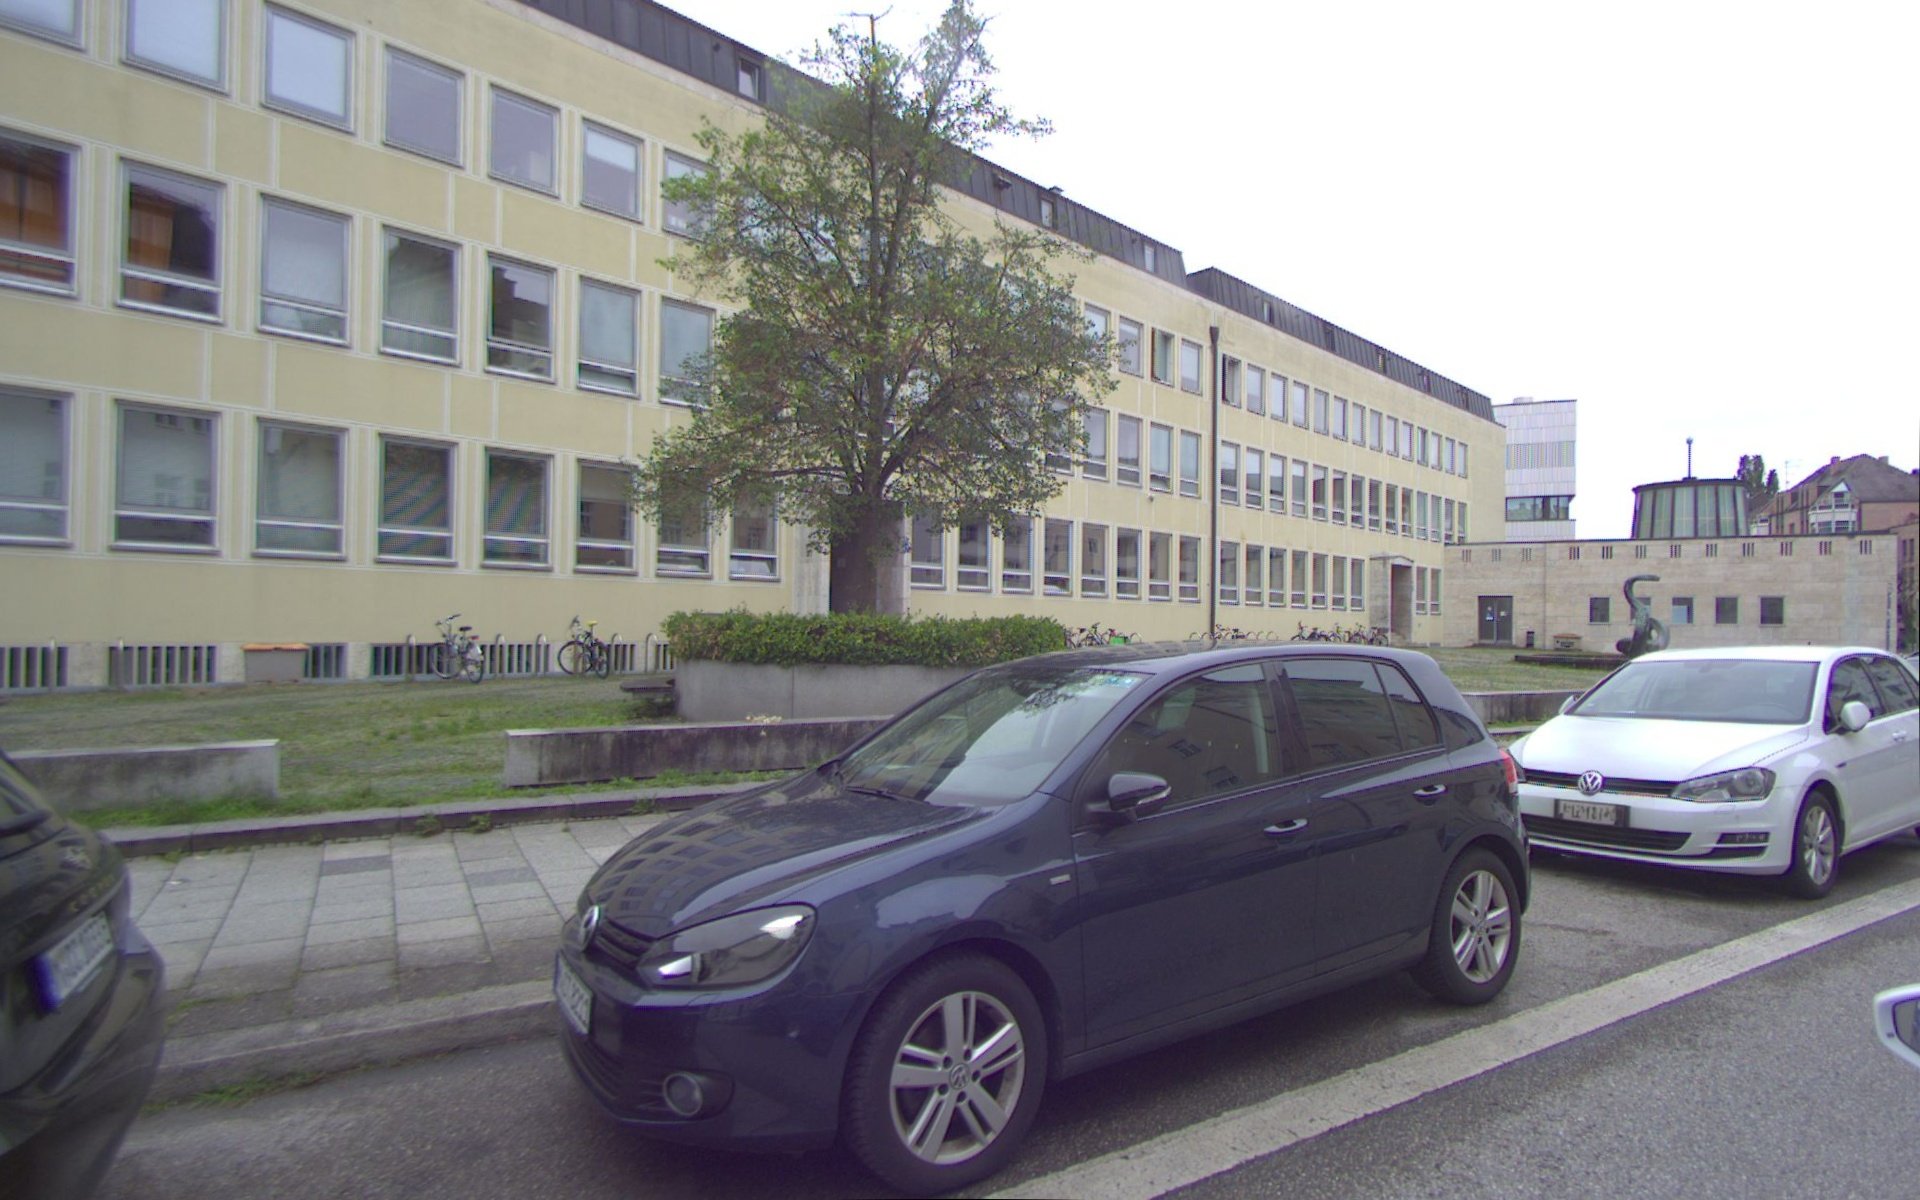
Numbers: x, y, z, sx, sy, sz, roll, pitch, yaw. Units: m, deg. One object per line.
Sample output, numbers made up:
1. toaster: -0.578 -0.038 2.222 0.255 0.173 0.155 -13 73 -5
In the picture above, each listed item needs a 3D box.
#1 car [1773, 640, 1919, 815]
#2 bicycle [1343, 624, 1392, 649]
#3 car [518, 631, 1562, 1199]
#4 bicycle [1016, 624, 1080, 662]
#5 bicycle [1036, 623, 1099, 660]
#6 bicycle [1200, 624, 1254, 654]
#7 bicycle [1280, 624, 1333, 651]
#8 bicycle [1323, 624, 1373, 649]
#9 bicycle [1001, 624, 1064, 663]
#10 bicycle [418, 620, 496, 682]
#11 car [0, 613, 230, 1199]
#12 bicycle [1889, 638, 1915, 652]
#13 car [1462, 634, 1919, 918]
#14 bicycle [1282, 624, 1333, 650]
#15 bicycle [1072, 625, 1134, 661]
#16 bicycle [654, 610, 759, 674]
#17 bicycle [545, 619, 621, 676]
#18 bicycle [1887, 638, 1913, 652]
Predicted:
1. car: 9.844 1.120 9.713 4.347 1.472 1.746 1 -3 -32
2. bicycle: 17.828 1.582 43.973 1.923 1.028 0.623 0 -1 40
3. car: 0.513 0.879 3.971 3.932 1.472 1.647 1 -3 -33
4. bicycle: 2.515 1.210 28.835 0.621 1.028 1.928 1 -1 -43
5. bicycle: 3.177 1.229 29.926 0.621 1.028 1.928 1 -1 -43
6. bicycle: 9.738 1.425 36.716 0.619 1.028 1.933 1 -1 -36
7. bicycle: 13.918 1.512 40.394 1.926 1.028 0.622 0 -1 44
8. bicycle: 16.672 1.548 43.163 0.621 1.028 1.928 1 -1 -44
9. bicycle: 2.018 1.201 28.166 0.620 1.028 1.930 1 -1 -40
10. bicycle: -9.007 0.880 17.953 1.926 1.028 0.622 0 -1 44
11. car: -3.457 0.753 1.342 3.825 1.472 1.672 1 -3 -31
12. bicycle: 90.854 4.350 96.872 1.728 1.305 0.552 1 -1 30
13. car: 5.454 0.990 7.044 4.029 1.472 1.647 1 -3 -33
14. bicycle: 14.249 1.521 41.259 0.620 1.028 1.930 1 -1 -39
15. bicycle: 4.375 1.306 30.780 0.621 1.028 1.928 1 -1 -43
16. bicycle: -5.438 0.867 21.424 2.409 1.265 1.050 0 -1 44
17. bicycle: -7.422 0.910 19.730 1.926 1.028 0.622 0 -1 44
18. bicycle: 91.185 4.393 97.451 1.728 1.305 0.552 1 -1 30
